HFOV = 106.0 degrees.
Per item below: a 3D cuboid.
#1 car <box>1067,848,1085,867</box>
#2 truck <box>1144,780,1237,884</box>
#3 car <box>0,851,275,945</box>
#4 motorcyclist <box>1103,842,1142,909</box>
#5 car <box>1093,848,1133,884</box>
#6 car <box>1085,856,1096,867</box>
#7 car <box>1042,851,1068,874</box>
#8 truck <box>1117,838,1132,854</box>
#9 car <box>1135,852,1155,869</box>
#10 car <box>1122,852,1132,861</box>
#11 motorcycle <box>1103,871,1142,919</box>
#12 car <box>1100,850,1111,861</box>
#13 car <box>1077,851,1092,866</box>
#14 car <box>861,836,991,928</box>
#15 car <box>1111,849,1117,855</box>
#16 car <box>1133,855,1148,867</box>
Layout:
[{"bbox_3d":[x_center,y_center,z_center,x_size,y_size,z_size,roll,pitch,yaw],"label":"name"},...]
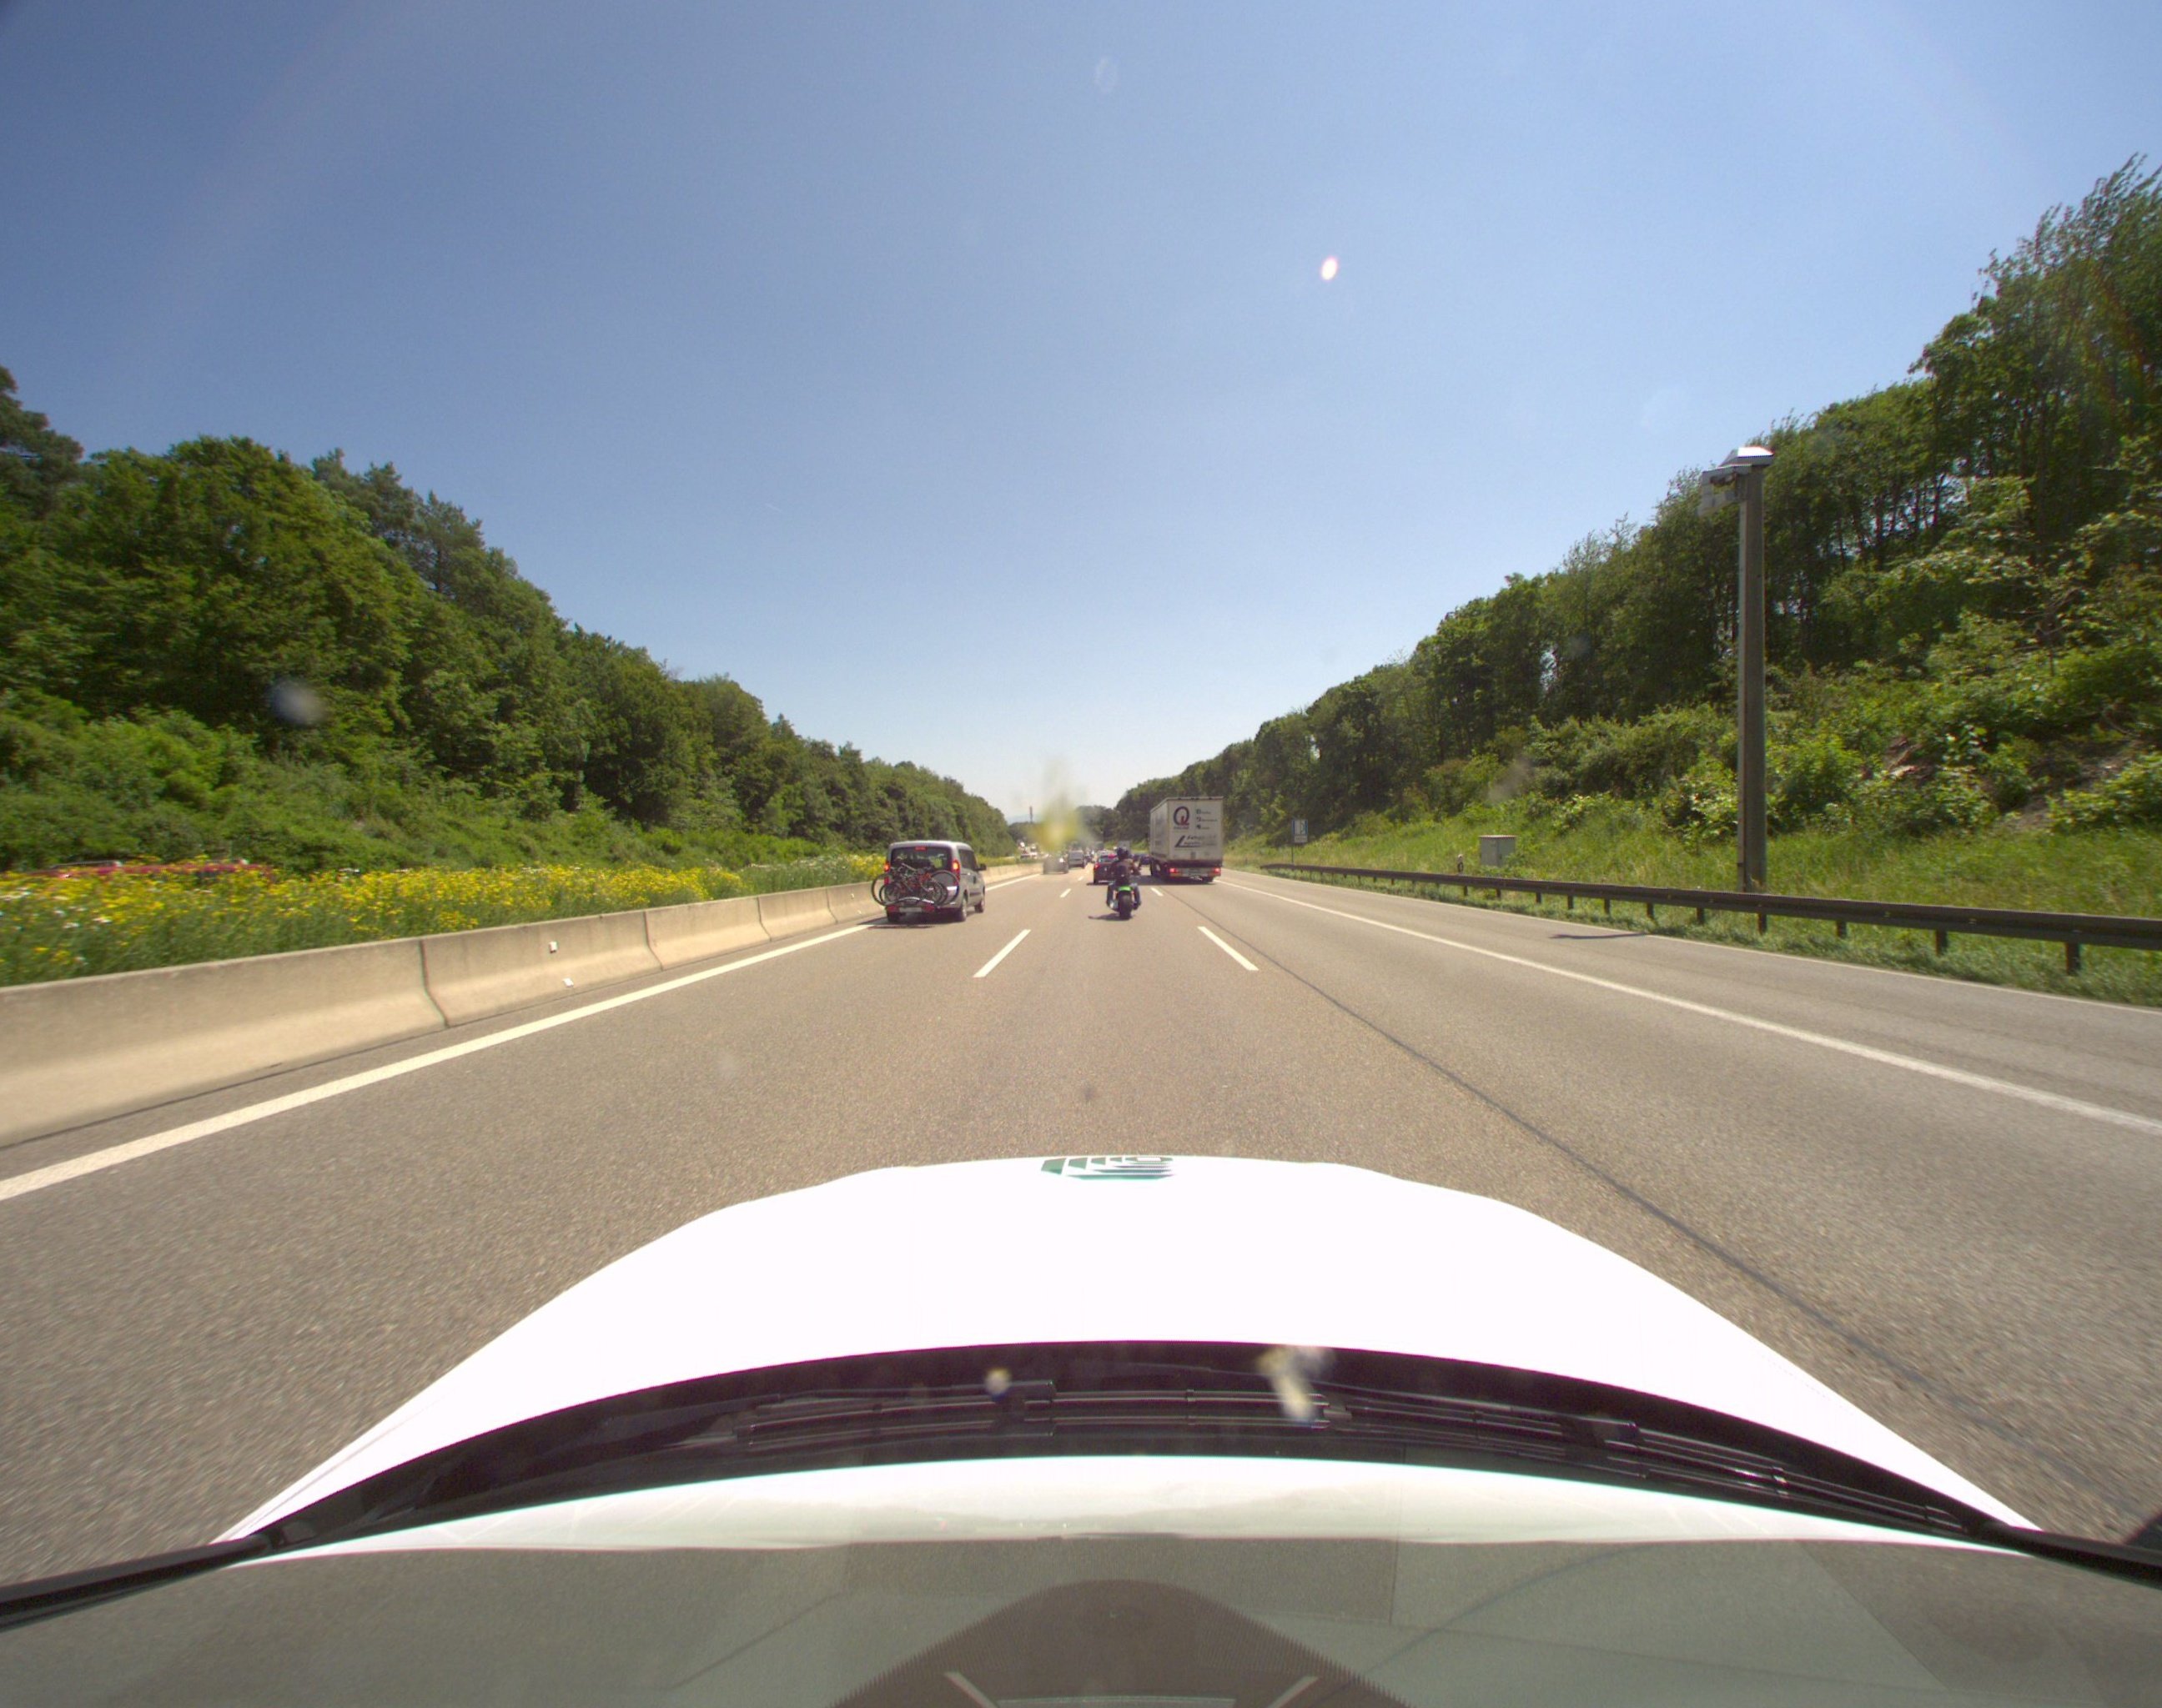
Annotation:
[{"bbox_3d":[-0.503,0.363,85.497,1.824,1.810,4.122,-1,1,1],"label":"car"},{"bbox_3d":[5.660,-1.157,45.771,3.370,4.717,17.717,0,1,2],"label":"truck"},{"bbox_3d":[-21.416,0.871,18.197,1.985,1.807,4.658,0,-1,3],"label":"car"},{"bbox_3d":[0.960,0.485,18.985,0.852,1.515,0.914,-1,0,2],"label":"motorcyclist"},{"bbox_3d":[1.545,0.553,39.870,1.839,1.557,4.441,-1,1,1],"label":"car"},{"bbox_3d":[1.728,1.332,140.894,1.824,1.810,4.122,-1,1,1],"label":"car"},{"bbox_3d":[-1.966,0.629,62.871,1.751,1.543,4.397,-1,1,1],"label":"car"},{"bbox_3d":[9.566,-1.794,180.193,3.056,3.346,9.657,0,1,2],"label":"truck"},{"bbox_3d":[6.552,0.630,83.962,1.824,1.558,4.122,-1,1,1],"label":"car"},{"bbox_3d":[8.921,0.456,158.827,1.824,1.558,4.122,-1,1,1],"label":"car"},{"bbox_3d":[0.975,0.931,19.131,0.859,0.982,2.132,-1,0,3],"label":"motorcycle"},{"bbox_3d":[4.072,0.242,134.272,1.824,1.810,4.122,-1,1,1],"label":"car"},{"bbox_3d":[0.446,0.511,104.828,1.824,1.810,4.122,-1,1,1],"label":"car"},{"bbox_3d":[-3.464,0.520,19.392,1.891,1.847,5.485,-1,1,1],"label":"car"},{"bbox_3d":[9.492,-0.620,235.040,1.824,1.558,4.122,-1,1,1],"label":"car"},{"bbox_3d":[8.336,0.985,113.943,1.824,1.558,4.122,-1,1,1],"label":"car"}]
